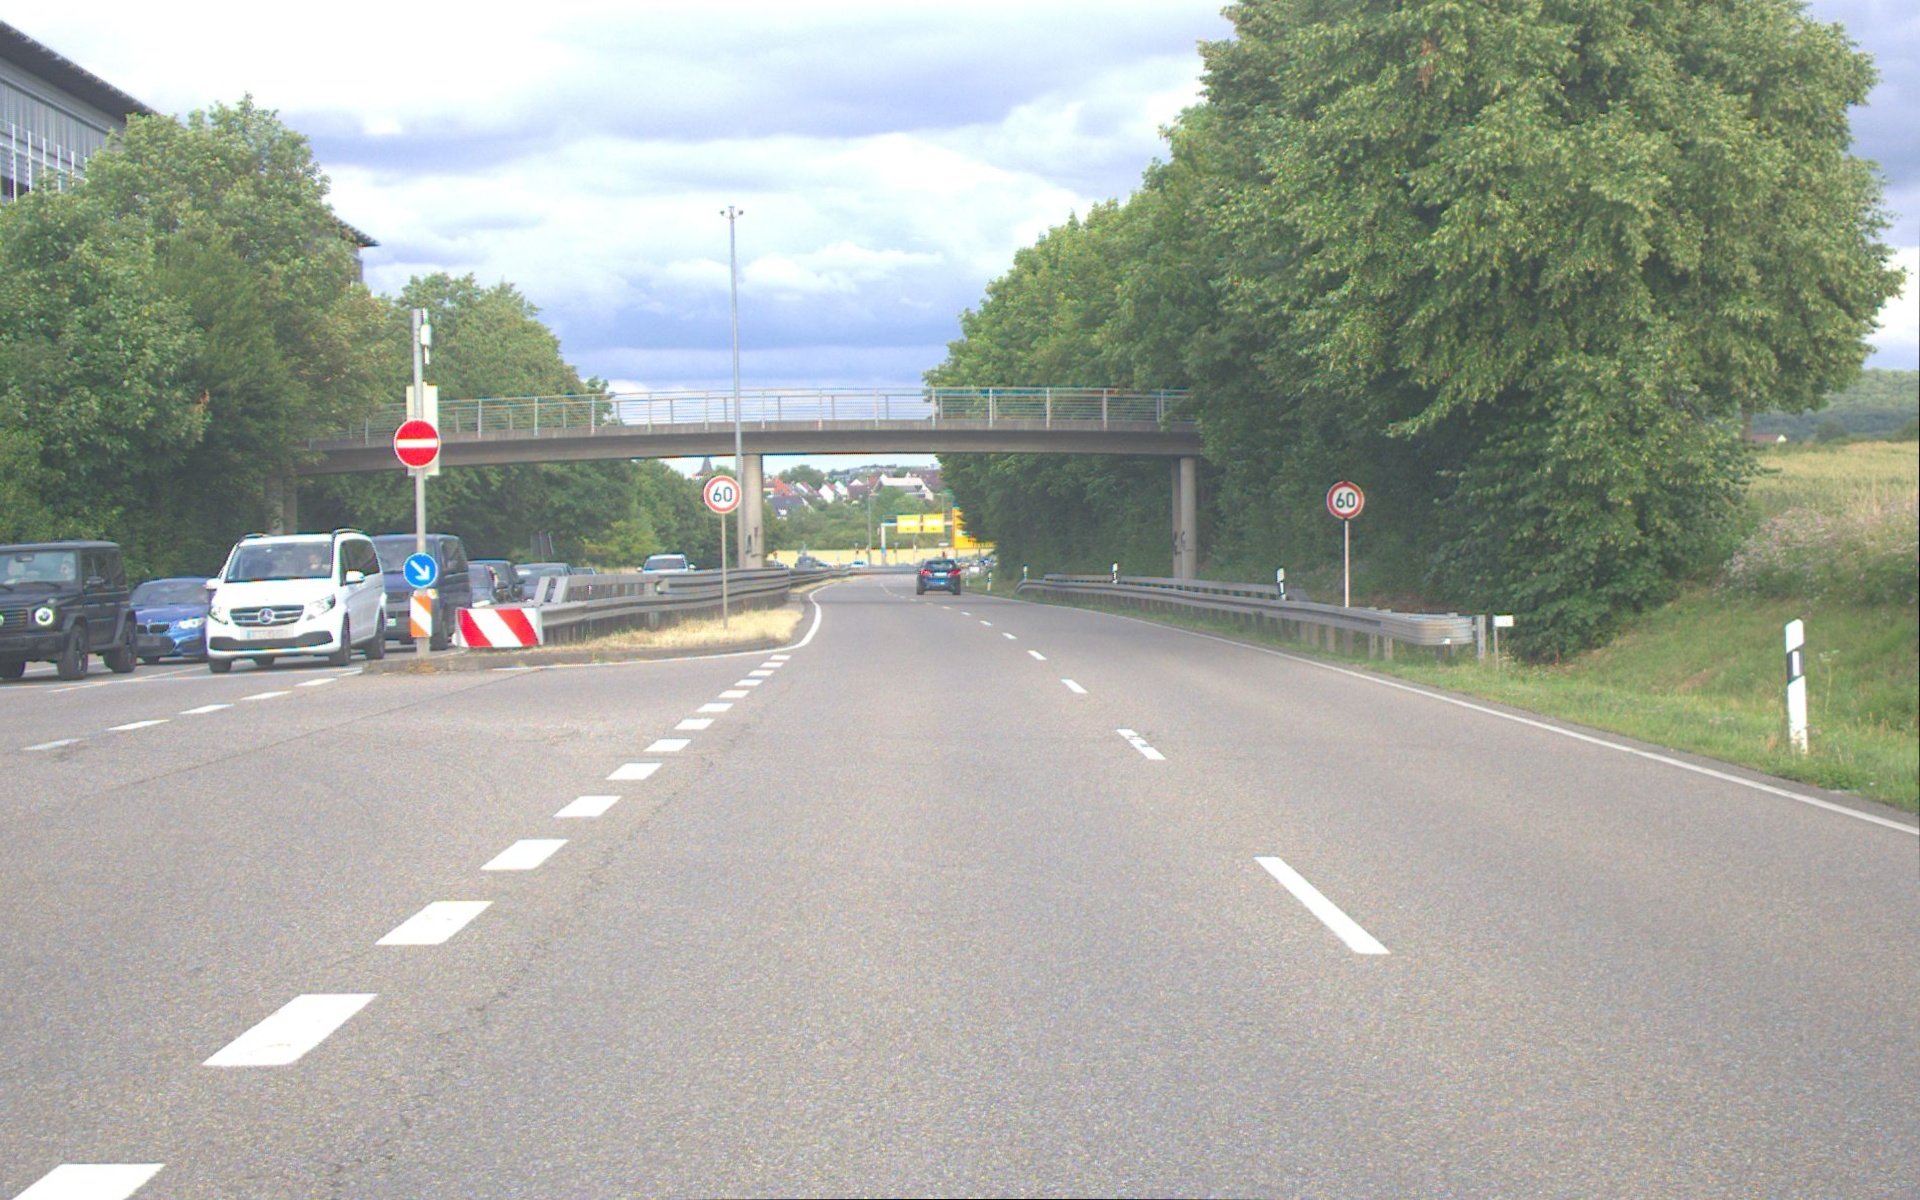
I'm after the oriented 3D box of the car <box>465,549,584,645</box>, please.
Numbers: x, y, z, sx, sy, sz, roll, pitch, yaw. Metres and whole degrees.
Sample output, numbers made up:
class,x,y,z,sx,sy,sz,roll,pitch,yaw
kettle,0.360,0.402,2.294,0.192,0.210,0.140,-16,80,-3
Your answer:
class,x,y,z,sx,sy,sz,roll,pitch,yaw
car,-9.537,-0.097,75.639,2.083,2.007,5.217,1,0,-2

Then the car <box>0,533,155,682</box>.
class,x,y,z,sx,sy,sz,roll,pitch,yaw
car,-13.115,0.074,49.246,2.083,2.007,5.217,1,0,-2

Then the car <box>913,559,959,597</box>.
class,x,y,z,sx,sy,sz,roll,pitch,yaw
car,-1.043,-0.947,147.167,1.879,1.547,4.000,1,0,-2

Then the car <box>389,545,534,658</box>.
class,x,y,z,sx,sy,sz,roll,pitch,yaw
car,-9.322,0.004,64.660,2.083,2.007,5.217,1,0,-2

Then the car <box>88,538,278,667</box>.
class,x,y,z,sx,sy,sz,roll,pitch,yaw
car,-12.746,0.014,56.747,2.083,2.007,5.217,1,0,-2

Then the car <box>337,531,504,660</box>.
class,x,y,z,sx,sy,sz,roll,pitch,yaw
car,-8.902,-0.089,57.092,2.083,2.007,5.217,1,0,-2

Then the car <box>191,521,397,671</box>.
class,x,y,z,sx,sy,sz,roll,pitch,yaw
car,-9.480,-0.073,49.355,2.083,2.007,5.217,1,0,-2
